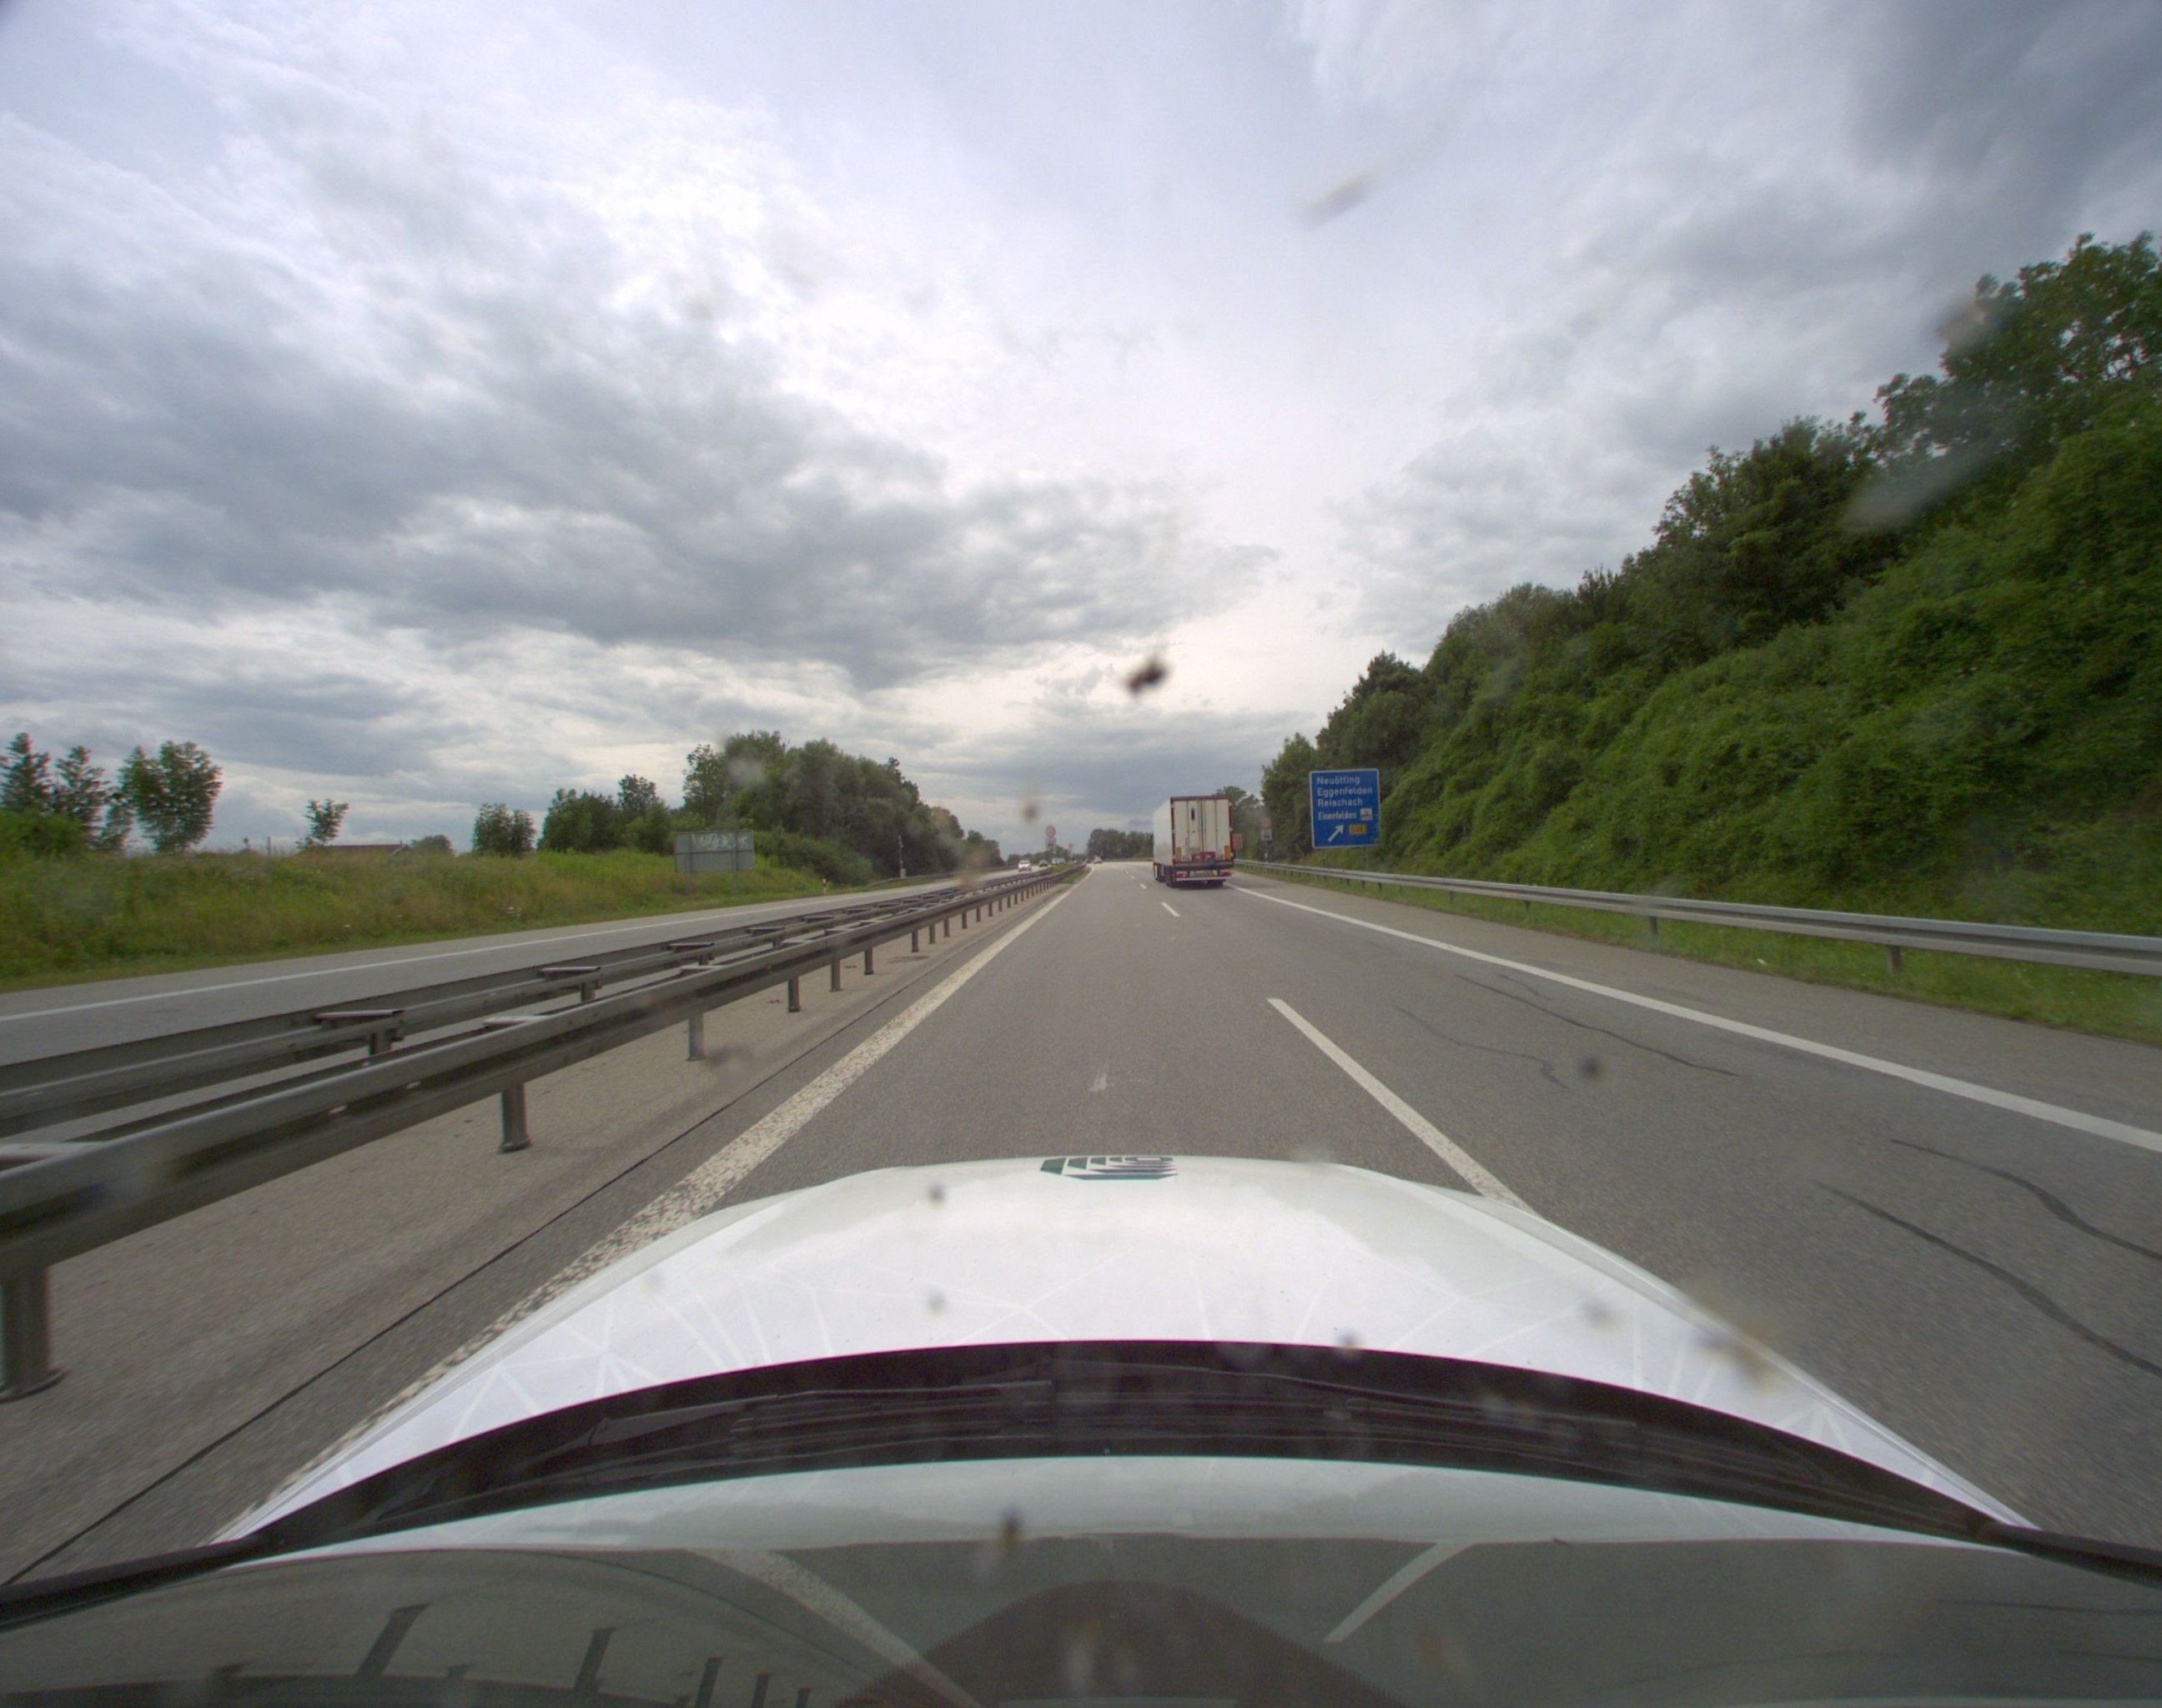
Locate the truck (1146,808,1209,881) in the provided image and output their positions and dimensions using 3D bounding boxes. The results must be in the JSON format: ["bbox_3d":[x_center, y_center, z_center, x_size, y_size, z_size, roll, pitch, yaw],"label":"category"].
[{"bbox_3d":[5.651,-0.516,48.519,3.051,3.892,6.002,-3,0,2],"label":"truck"}]

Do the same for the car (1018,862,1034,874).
[{"bbox_3d":[-7.681,1.913,113.671,1.644,1.492,4.284,-3,0,2],"label":"car"}]

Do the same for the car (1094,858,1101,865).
[{"bbox_3d":[4.455,2.087,221.392,1.896,1.640,4.395,-3,-1,0],"label":"car"}]

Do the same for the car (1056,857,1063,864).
[{"bbox_3d":[-5.846,1.767,221.078,1.839,1.612,4.947,-1,0,1],"label":"car"}]

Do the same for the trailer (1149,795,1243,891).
[{"bbox_3d":[5.407,-0.437,41.165,3.050,3.890,13.796,-3,0,2],"label":"trailer"}]

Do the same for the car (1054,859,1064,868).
[{"bbox_3d":[-4.651,2.076,173.508,1.719,1.650,4.225,-3,1,2],"label":"car"}]

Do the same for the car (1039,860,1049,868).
[{"bbox_3d":[-7.975,2.236,176.104,1.722,1.559,4.333,-4,0,2],"label":"car"}]
